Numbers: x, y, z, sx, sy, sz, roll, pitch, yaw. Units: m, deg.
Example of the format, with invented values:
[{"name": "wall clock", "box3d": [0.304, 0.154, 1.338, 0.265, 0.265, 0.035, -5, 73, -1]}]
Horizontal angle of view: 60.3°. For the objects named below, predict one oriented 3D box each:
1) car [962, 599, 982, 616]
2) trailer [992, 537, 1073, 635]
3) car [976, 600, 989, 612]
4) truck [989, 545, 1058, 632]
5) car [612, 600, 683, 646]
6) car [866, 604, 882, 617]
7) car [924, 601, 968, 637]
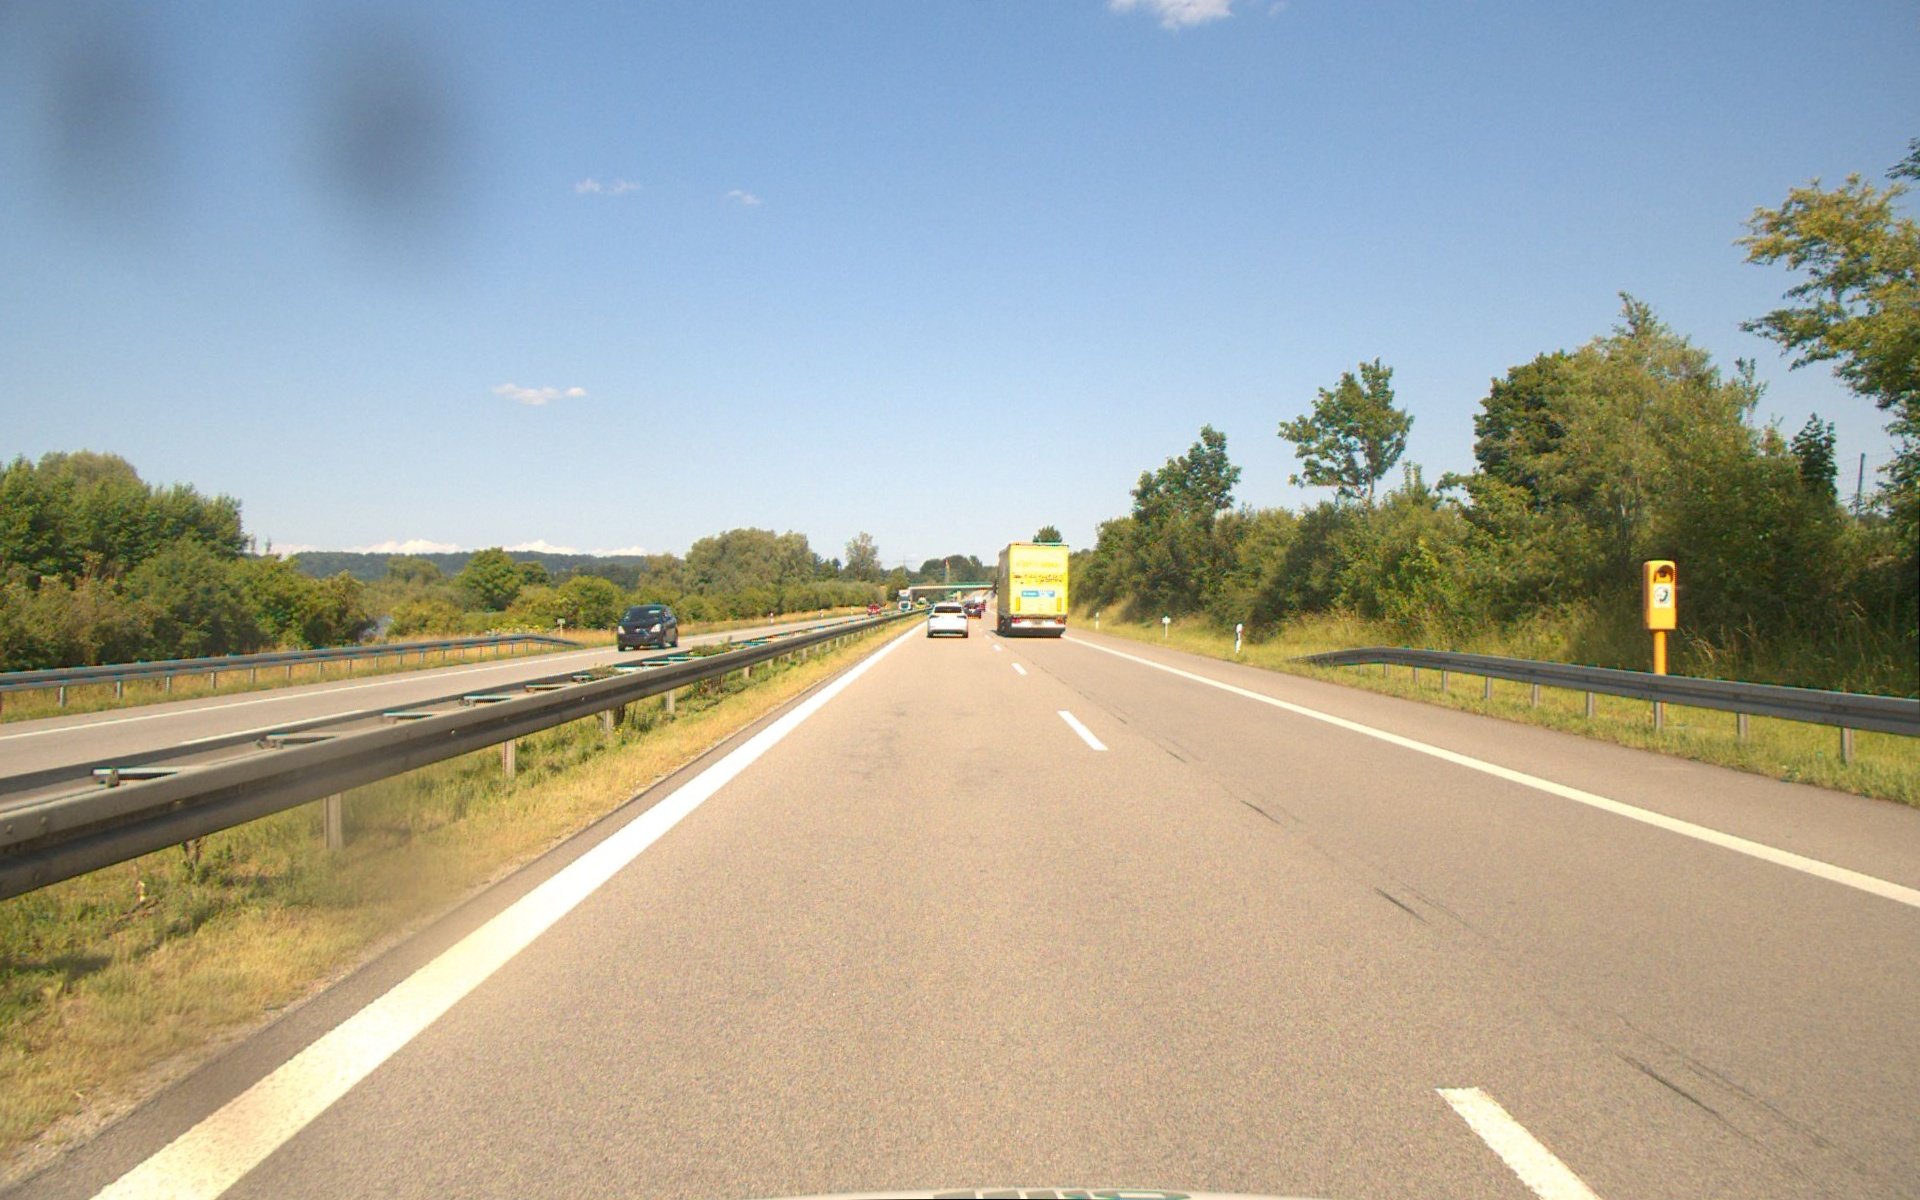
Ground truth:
[{"name": "car", "box3d": [1.134, 0.732, 155.807, 1.805, 1.546, 4.000, 1, 0, 1]}, {"name": "trailer", "box3d": [3.233, -0.554, 77.197, 3.119, 4.130, 13.185, 1, 0, 0]}, {"name": "car", "box3d": [3.577, 0.913, 259.506, 1.863, 1.712, 4.730, 2, 0, -1]}, {"name": "truck", "box3d": [3.164, -0.552, 84.088, 3.104, 4.186, 6.387, 1, 0, -1]}, {"name": "car", "box3d": [-11.679, 0.847, 62.060, 1.792, 1.599, 4.655, -2, 0, -1]}, {"name": "car", "box3d": [-11.302, 1.365, 218.261, 1.694, 1.537, 4.480, -3, 0, 1]}, {"name": "car", "box3d": [-0.582, 0.804, 70.926, 1.805, 1.440, 4.000, 1, 0, 1]}]
